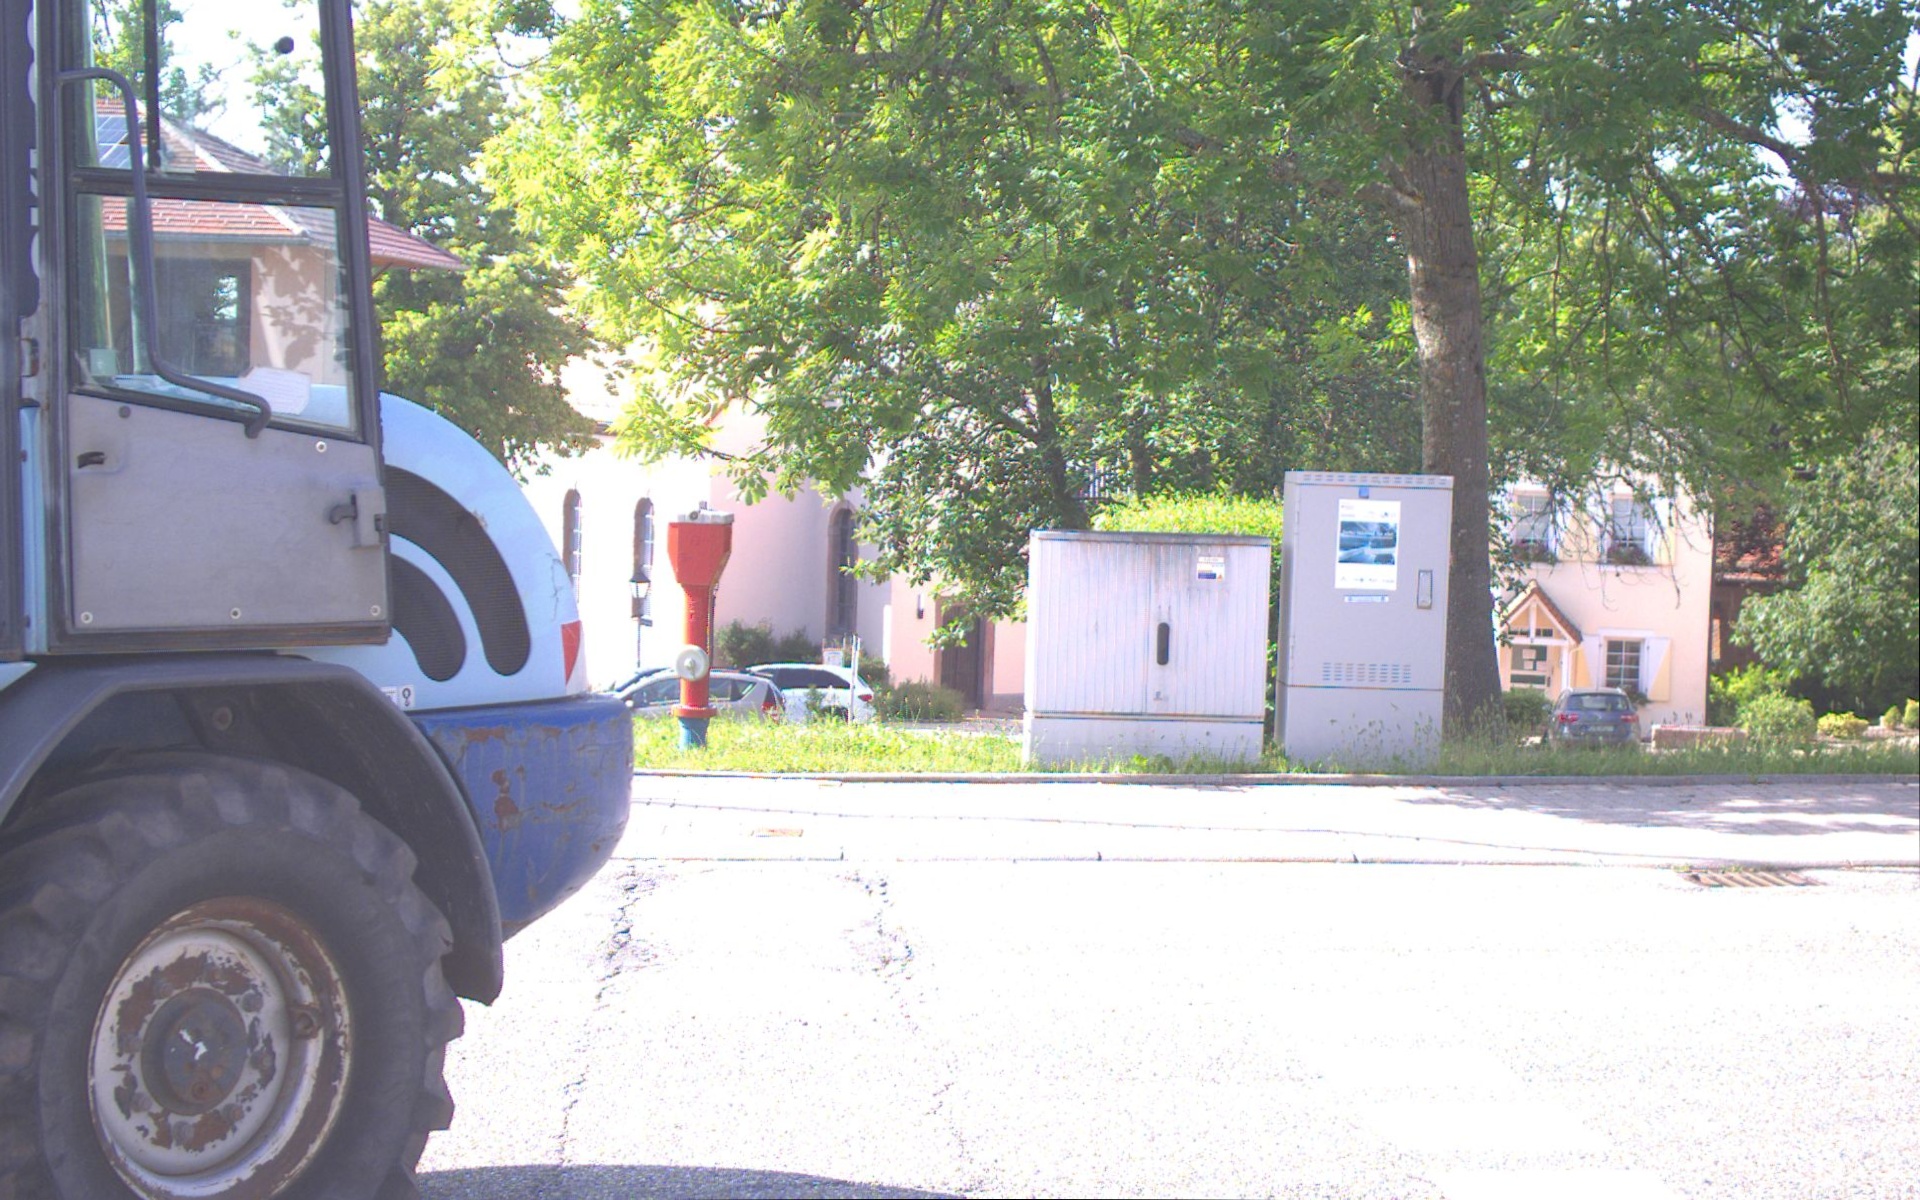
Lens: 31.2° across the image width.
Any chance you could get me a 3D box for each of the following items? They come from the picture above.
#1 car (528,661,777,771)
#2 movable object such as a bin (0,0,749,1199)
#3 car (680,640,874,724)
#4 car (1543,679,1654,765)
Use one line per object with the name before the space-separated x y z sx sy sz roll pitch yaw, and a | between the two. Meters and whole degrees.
car | -5.150 1.937 57.655 4.089 1.752 1.714 1 0 -5
movable object such as a bin | -2.659 -0.071 5.194 1.997 2.759 5.095 2 2 33
car | -3.672 1.625 68.501 3.772 1.588 1.714 1 0 -6
car | 12.592 2.384 67.939 1.708 1.536 3.785 1 0 4
